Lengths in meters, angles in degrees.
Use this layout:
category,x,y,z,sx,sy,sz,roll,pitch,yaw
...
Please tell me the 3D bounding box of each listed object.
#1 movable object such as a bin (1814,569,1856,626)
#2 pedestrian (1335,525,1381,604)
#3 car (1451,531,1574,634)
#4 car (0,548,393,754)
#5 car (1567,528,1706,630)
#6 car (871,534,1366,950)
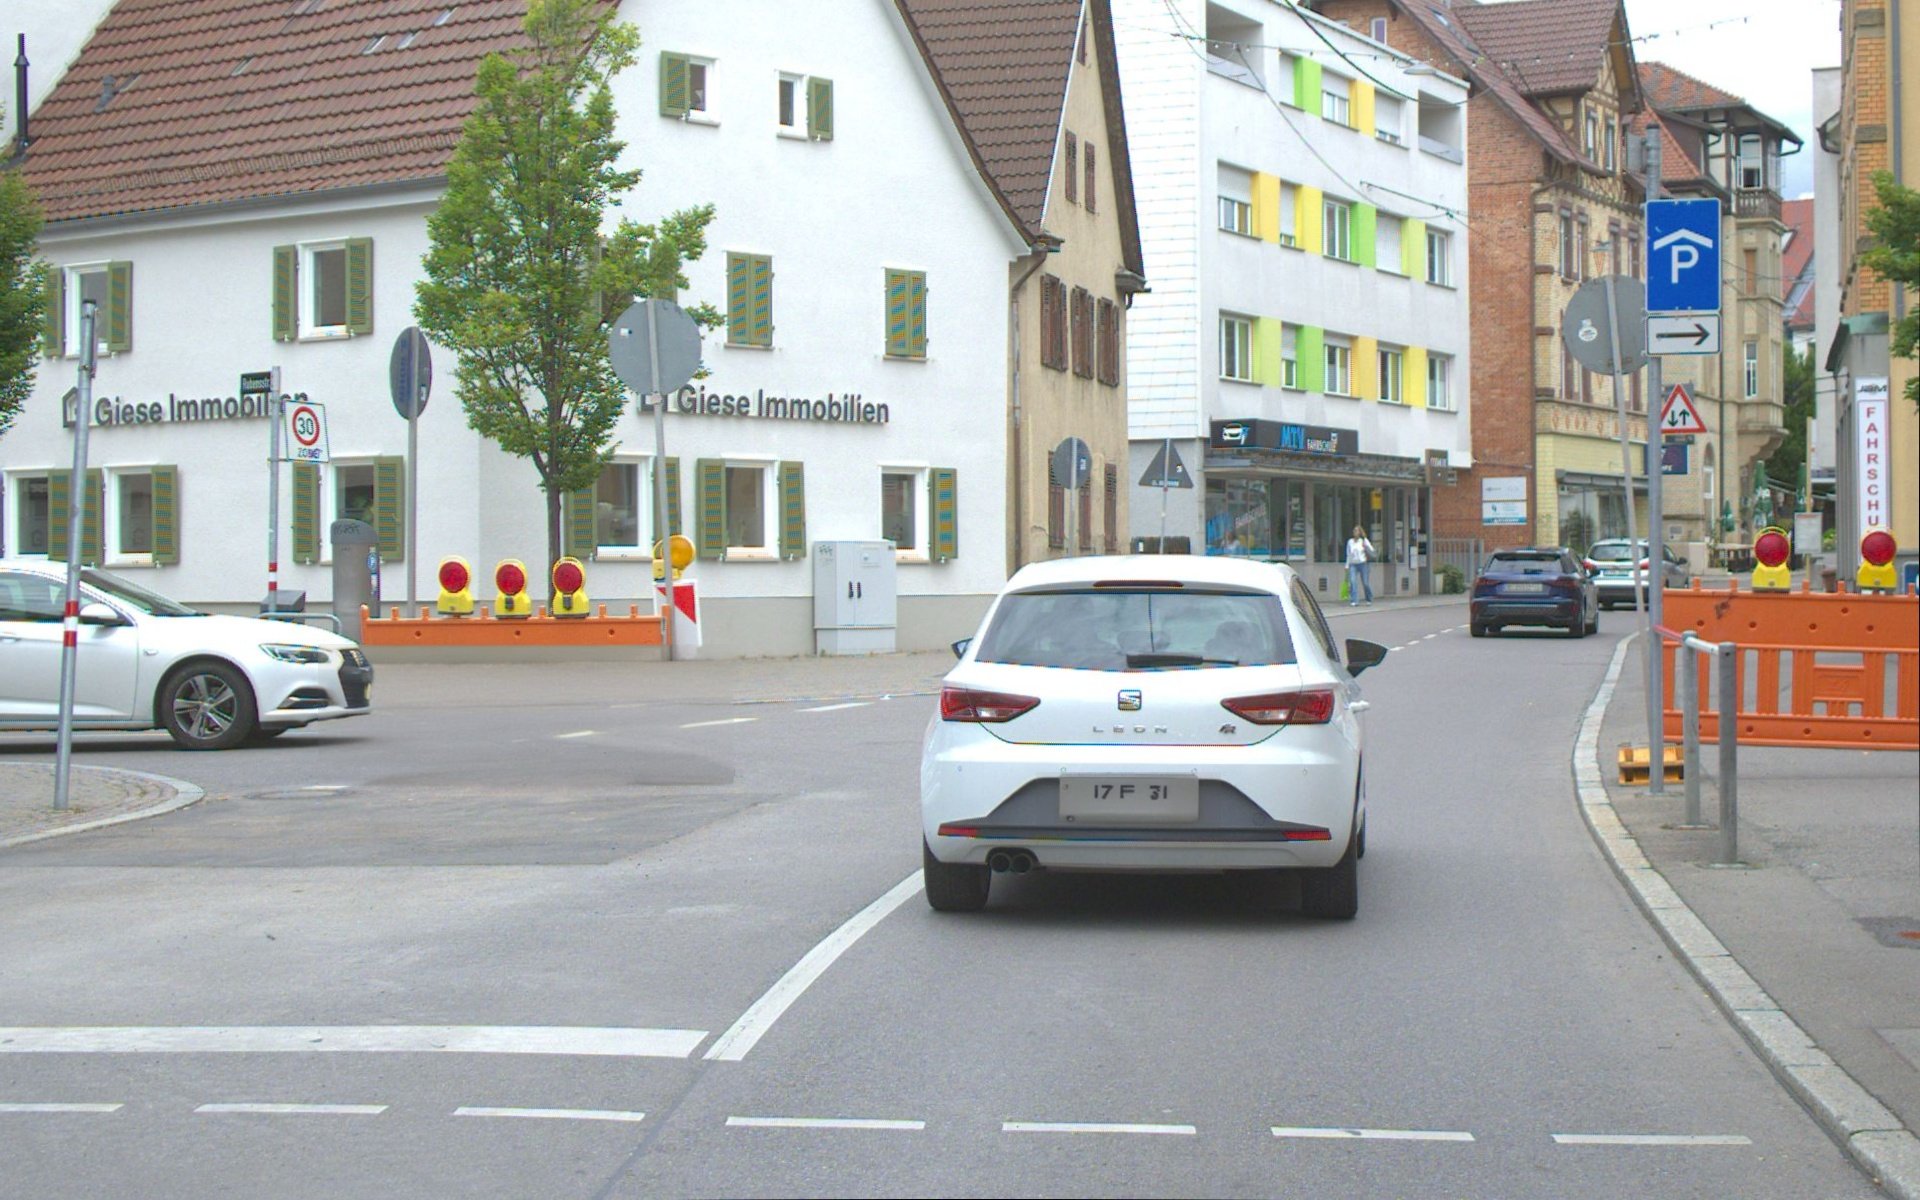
category,x,y,z,sx,sy,sz,roll,pitch,yaw
movable object such as a bin,14.245,-0.040,55.946,0.620,0.918,0.581,0,1,18
pedestrian,8.446,-0.757,72.966,0.893,1.659,0.861,0,1,10
car,8.678,-0.293,53.831,1.812,1.475,3.869,-1,2,10
car,-6.990,0.347,26.304,4.903,1.471,2.249,0,1,1
car,13.858,-0.447,70.256,1.996,2.007,3.995,0,1,23
car,0.815,0.492,14.876,1.812,1.475,3.870,1,2,7
